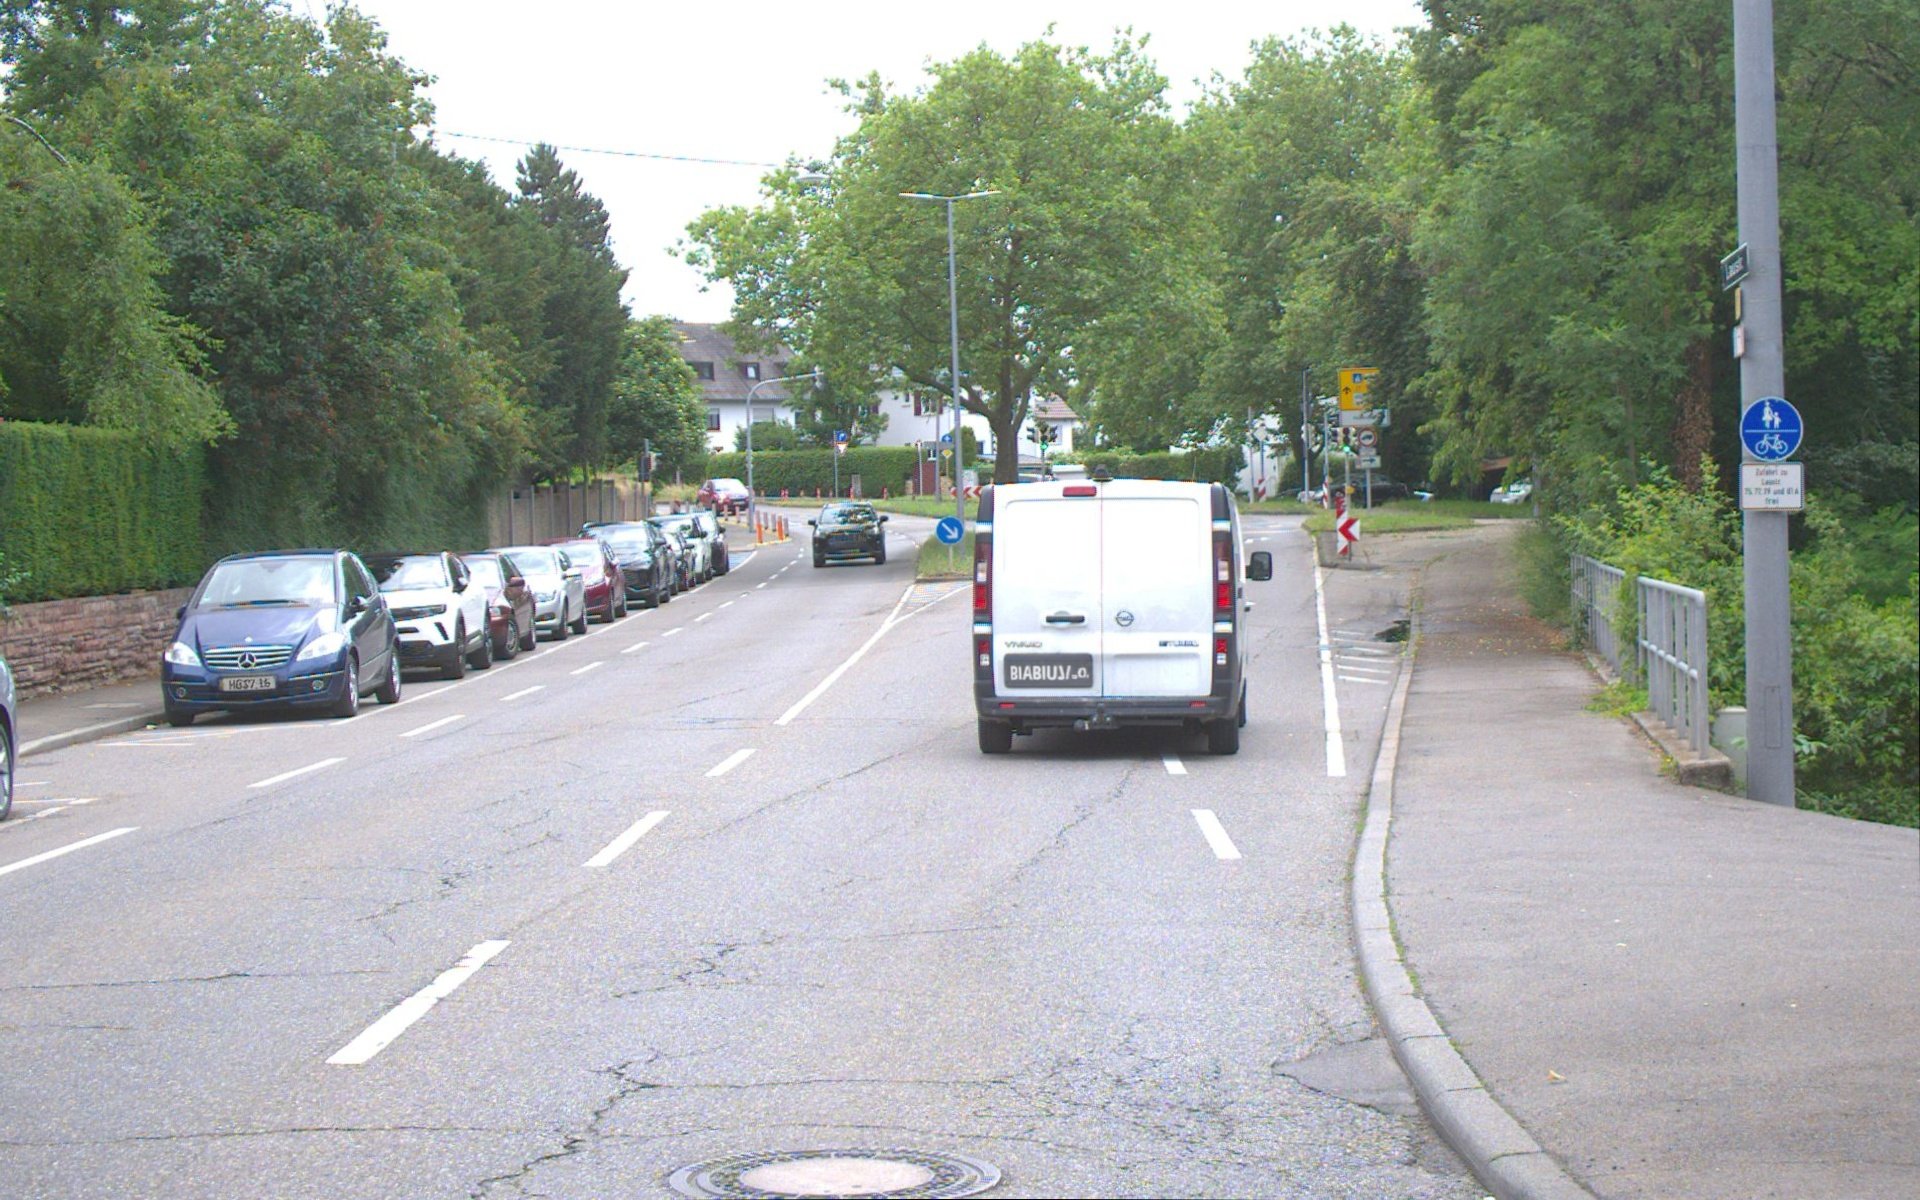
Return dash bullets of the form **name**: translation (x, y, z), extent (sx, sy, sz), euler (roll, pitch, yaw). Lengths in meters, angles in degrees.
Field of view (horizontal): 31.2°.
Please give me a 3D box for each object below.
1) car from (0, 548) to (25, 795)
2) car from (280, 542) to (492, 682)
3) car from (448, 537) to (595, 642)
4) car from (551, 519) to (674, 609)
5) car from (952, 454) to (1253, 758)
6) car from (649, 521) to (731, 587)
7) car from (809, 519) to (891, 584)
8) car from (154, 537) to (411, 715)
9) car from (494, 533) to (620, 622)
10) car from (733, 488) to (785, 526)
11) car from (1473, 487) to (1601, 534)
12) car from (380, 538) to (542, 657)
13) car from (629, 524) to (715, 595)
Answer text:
- **car**: translation (-6.530, 0.510, 18.507), extent (1.809, 1.450, 4.414), euler (-3, 1, -1)
- **car**: translation (-6.831, 0.106, 41.273), extent (1.889, 1.489, 4.027), euler (-3, 1, -1)
- **car**: translation (-6.739, -0.196, 53.178), extent (1.669, 1.483, 4.431), euler (-2, 1, 0)
- **car**: translation (-6.725, -0.733, 66.959), extent (1.993, 1.637, 4.467), euler (-2, 1, -1)
- **car**: translation (1.129, -0.008, 25.906), extent (2.006, 2.031, 5.009), euler (1, 1, 4)
- **car**: translation (-6.947, -1.205, 88.727), extent (1.887, 1.619, 4.431), euler (-1, 1, -2)
- **car**: translation (-2.896, -1.284, 91.230), extent (1.842, 1.641, 4.213), euler (-1, 1, 3)
- **car**: translation (-6.529, 0.216, 33.507), extent (1.678, 1.551, 3.972), euler (-3, 1, 0)
- **car**: translation (-6.991, -0.414, 59.978), extent (1.779, 1.433, 4.000), euler (-2, 1, -1)
- **car**: translation (-8.778, -4.047, 150.618), extent (1.998, 1.582, 3.998), euler (-2, 1, 0)
- **car**: translation (22.679, -3.529, 135.146), extent (4.729, 1.763, 2.000), euler (-2, 2, -29)
- **car**: translation (-6.755, -0.069, 46.855), extent (1.669, 1.473, 3.911), euler (-2, 1, -1)
- **car**: translation (-6.960, -1.008, 83.384), extent (1.672, 1.586, 4.096), euler (-3, 2, 0)
